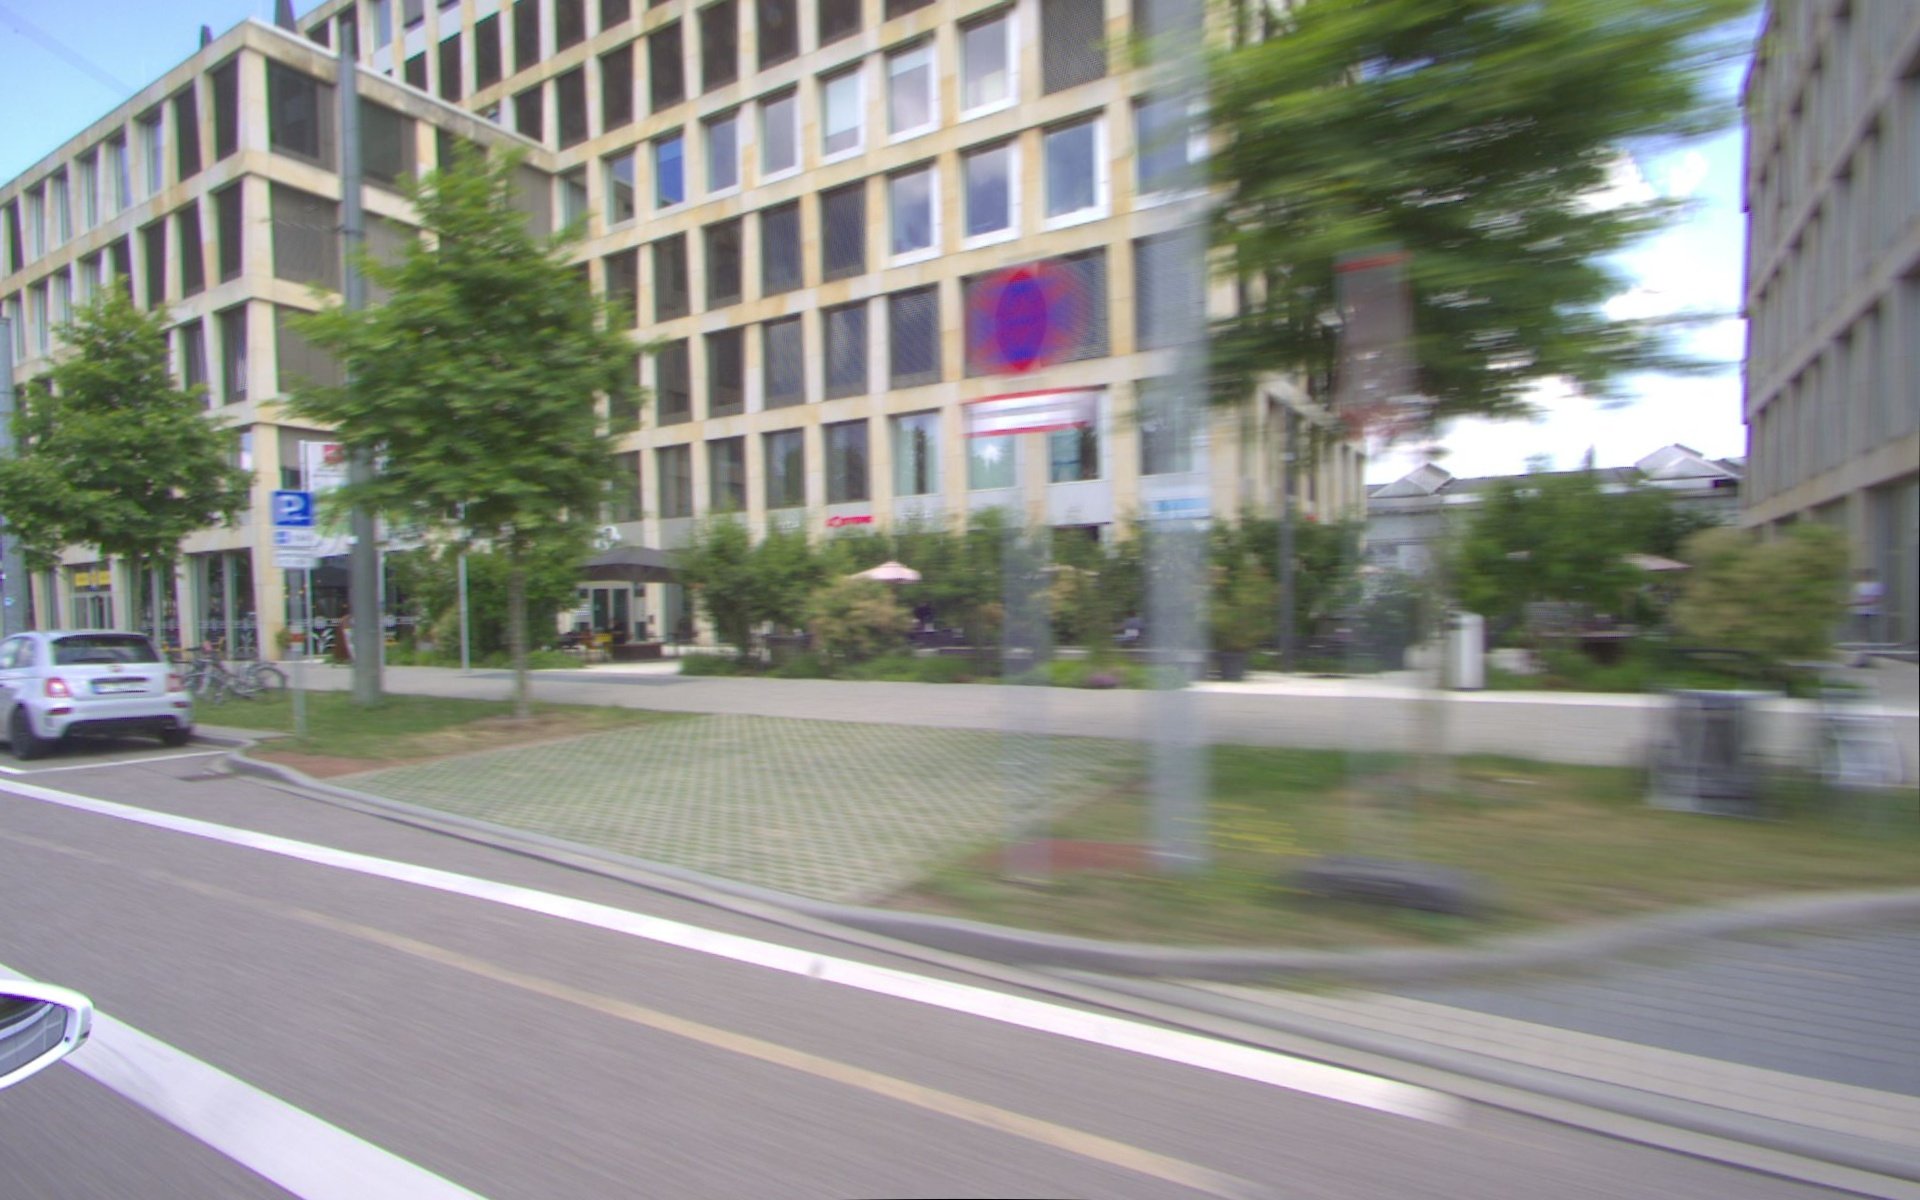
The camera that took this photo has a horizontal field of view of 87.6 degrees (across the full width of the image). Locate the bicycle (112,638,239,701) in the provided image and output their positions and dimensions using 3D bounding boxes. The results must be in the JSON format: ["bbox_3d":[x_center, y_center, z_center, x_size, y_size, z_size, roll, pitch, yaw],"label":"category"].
[{"bbox_3d":[-15.260,1.329,19.521,0.677,1.090,1.818,-1,0,35],"label":"bicycle"}]

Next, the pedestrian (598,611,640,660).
[{"bbox_3d":[-10.124,1.053,29.768,0.855,1.381,0.773,-1,2,32],"label":"pedestrian"}]

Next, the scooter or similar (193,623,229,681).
[{"bbox_3d":[-16.358,1.120,21.852,1.000,1.232,0.258,-1,1,32],"label":"scooter or similar"}]

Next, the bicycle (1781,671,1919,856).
[{"bbox_3d":[5.618,0.971,6.315,0.498,0.928,1.491,-4,-1,34],"label":"bicycle"}]

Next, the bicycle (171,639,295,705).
[{"bbox_3d":[-13.200,1.284,18.235,0.271,1.090,1.818,-1,0,35],"label":"bicycle"}]

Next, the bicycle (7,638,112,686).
[{"bbox_3d":[-20.747,1.409,23.102,0.321,0.999,1.749,-1,1,31],"label":"bicycle"}]

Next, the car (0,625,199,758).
[{"bbox_3d":[-11.521,1.078,12.952,3.562,1.479,1.588,-1,-1,33],"label":"car"}]

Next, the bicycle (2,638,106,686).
[{"bbox_3d":[-21.039,1.415,23.282,0.321,0.999,1.749,-1,1,31],"label":"bicycle"}]

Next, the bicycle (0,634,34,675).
[{"bbox_3d":[-25.656,1.462,26.319,0.576,1.044,1.818,-1,0,35],"label":"bicycle"}]

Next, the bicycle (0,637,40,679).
[{"bbox_3d":[-25.022,1.524,25.849,0.426,1.044,1.818,-1,0,35],"label":"bicycle"}]

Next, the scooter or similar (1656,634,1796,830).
[{"bbox_3d":[5.229,0.847,6.888,0.709,1.190,1.048,-1,0,35],"label":"scooter or similar"}]

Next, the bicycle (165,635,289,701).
[{"bbox_3d":[-13.436,1.219,18.409,0.271,1.090,1.818,-1,0,35],"label":"bicycle"}]
